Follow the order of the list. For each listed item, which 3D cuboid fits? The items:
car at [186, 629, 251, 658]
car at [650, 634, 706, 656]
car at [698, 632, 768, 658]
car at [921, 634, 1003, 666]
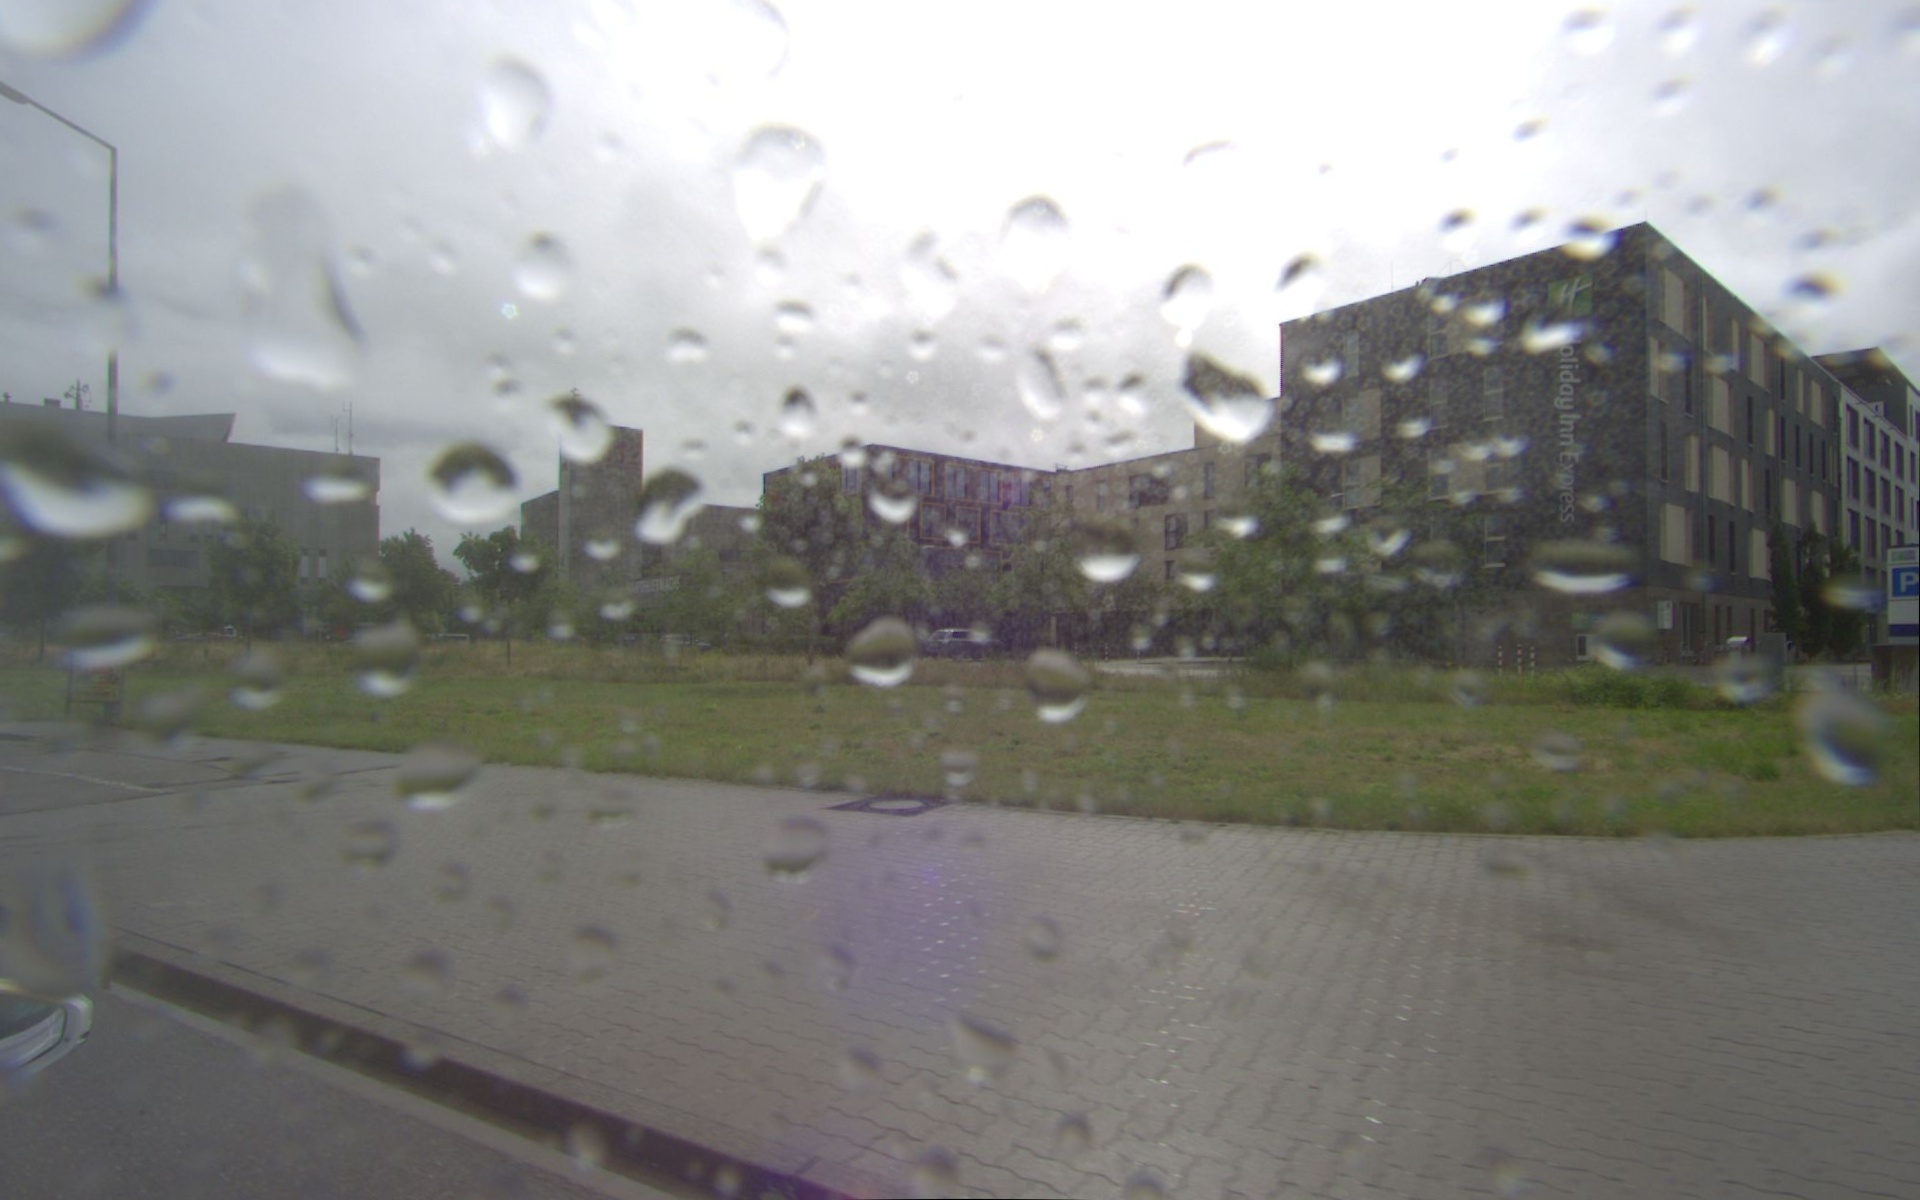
[{"bbox_3d":[-54.720,3.205,73.973,3.656,2.039,1.991,1,-2,-30],"label":"car"},{"bbox_3d":[-22.309,3.543,79.193,3.951,1.742,1.757,2,-2,-36],"label":"car"},{"bbox_3d":[-16.196,3.223,71.555,4.502,1.784,1.986,2,-2,-37],"label":"car"},{"bbox_3d":[0.121,2.588,52.353,4.167,1.577,1.655,0,-2,-37],"label":"car"}]
